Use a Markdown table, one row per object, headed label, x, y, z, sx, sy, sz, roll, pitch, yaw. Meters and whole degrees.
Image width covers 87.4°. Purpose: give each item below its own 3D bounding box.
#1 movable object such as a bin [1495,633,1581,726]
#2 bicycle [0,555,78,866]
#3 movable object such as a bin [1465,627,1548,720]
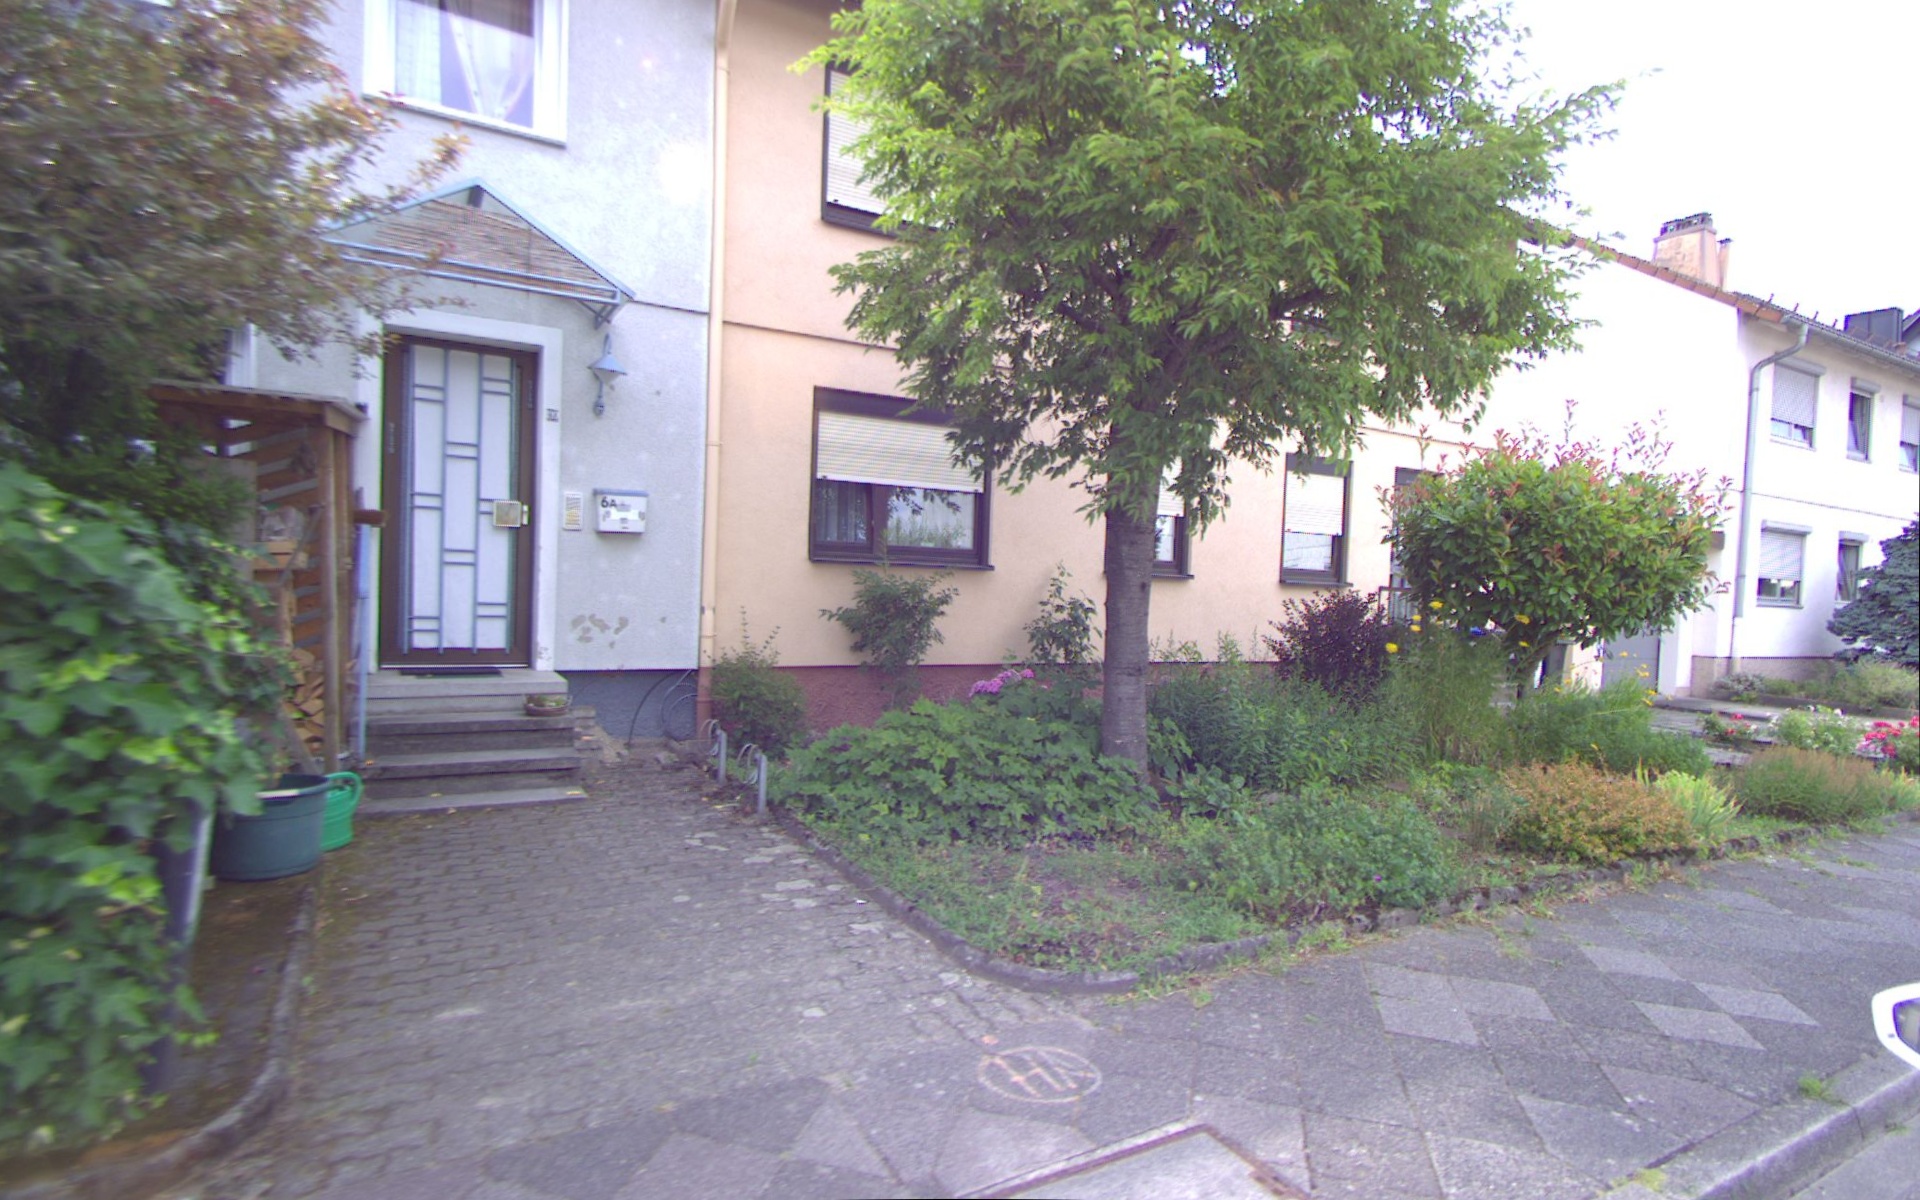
| label | x | y | z | sx | sy | sz | roll | pitch | yaw |
| --- | --- | --- | --- | --- | --- | --- | --- | --- | --- |
| movable object such as a bin | 6.878 | 0.927 | 11.965 | 0.625 | 1.035 | 0.649 | 1 | 0 | -30 |
| bicycle | -5.111 | 0.484 | 4.383 | 1.826 | 1.414 | 0.429 | 1 | 1 | -29 |
| movable object such as a bin | 6.331 | 0.834 | 11.646 | 0.535 | 1.016 | 0.649 | 1 | 0 | -30 |
